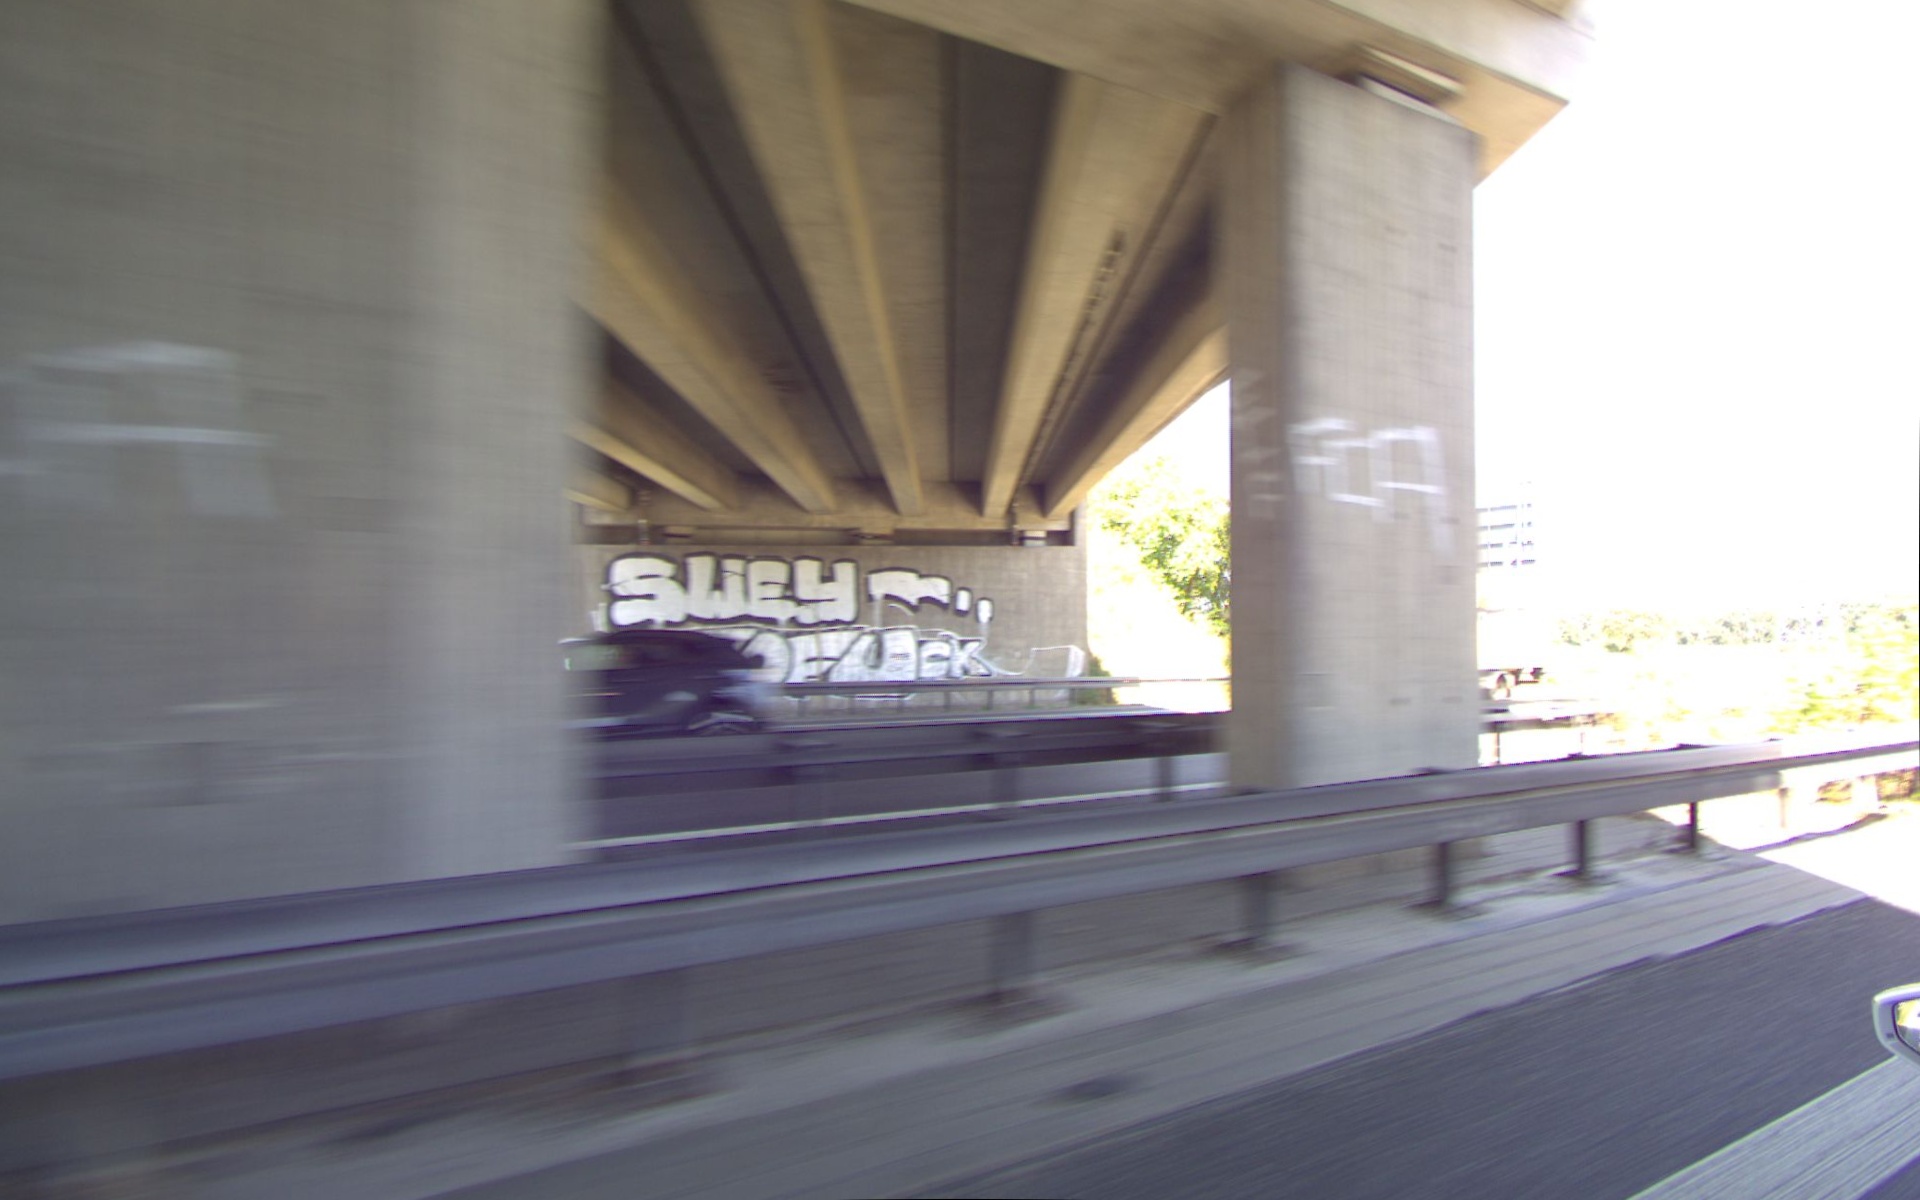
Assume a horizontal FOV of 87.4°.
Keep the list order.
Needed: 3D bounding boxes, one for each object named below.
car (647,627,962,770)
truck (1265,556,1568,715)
[{"bbox_3d":[-2.175,1.291,14.206,3.953,1.703,1.984,2,-1,-30],"label":"car"},{"bbox_3d":[12.973,0.971,28.336,8.559,3.914,3.496,1,-1,-30],"label":"truck"}]
